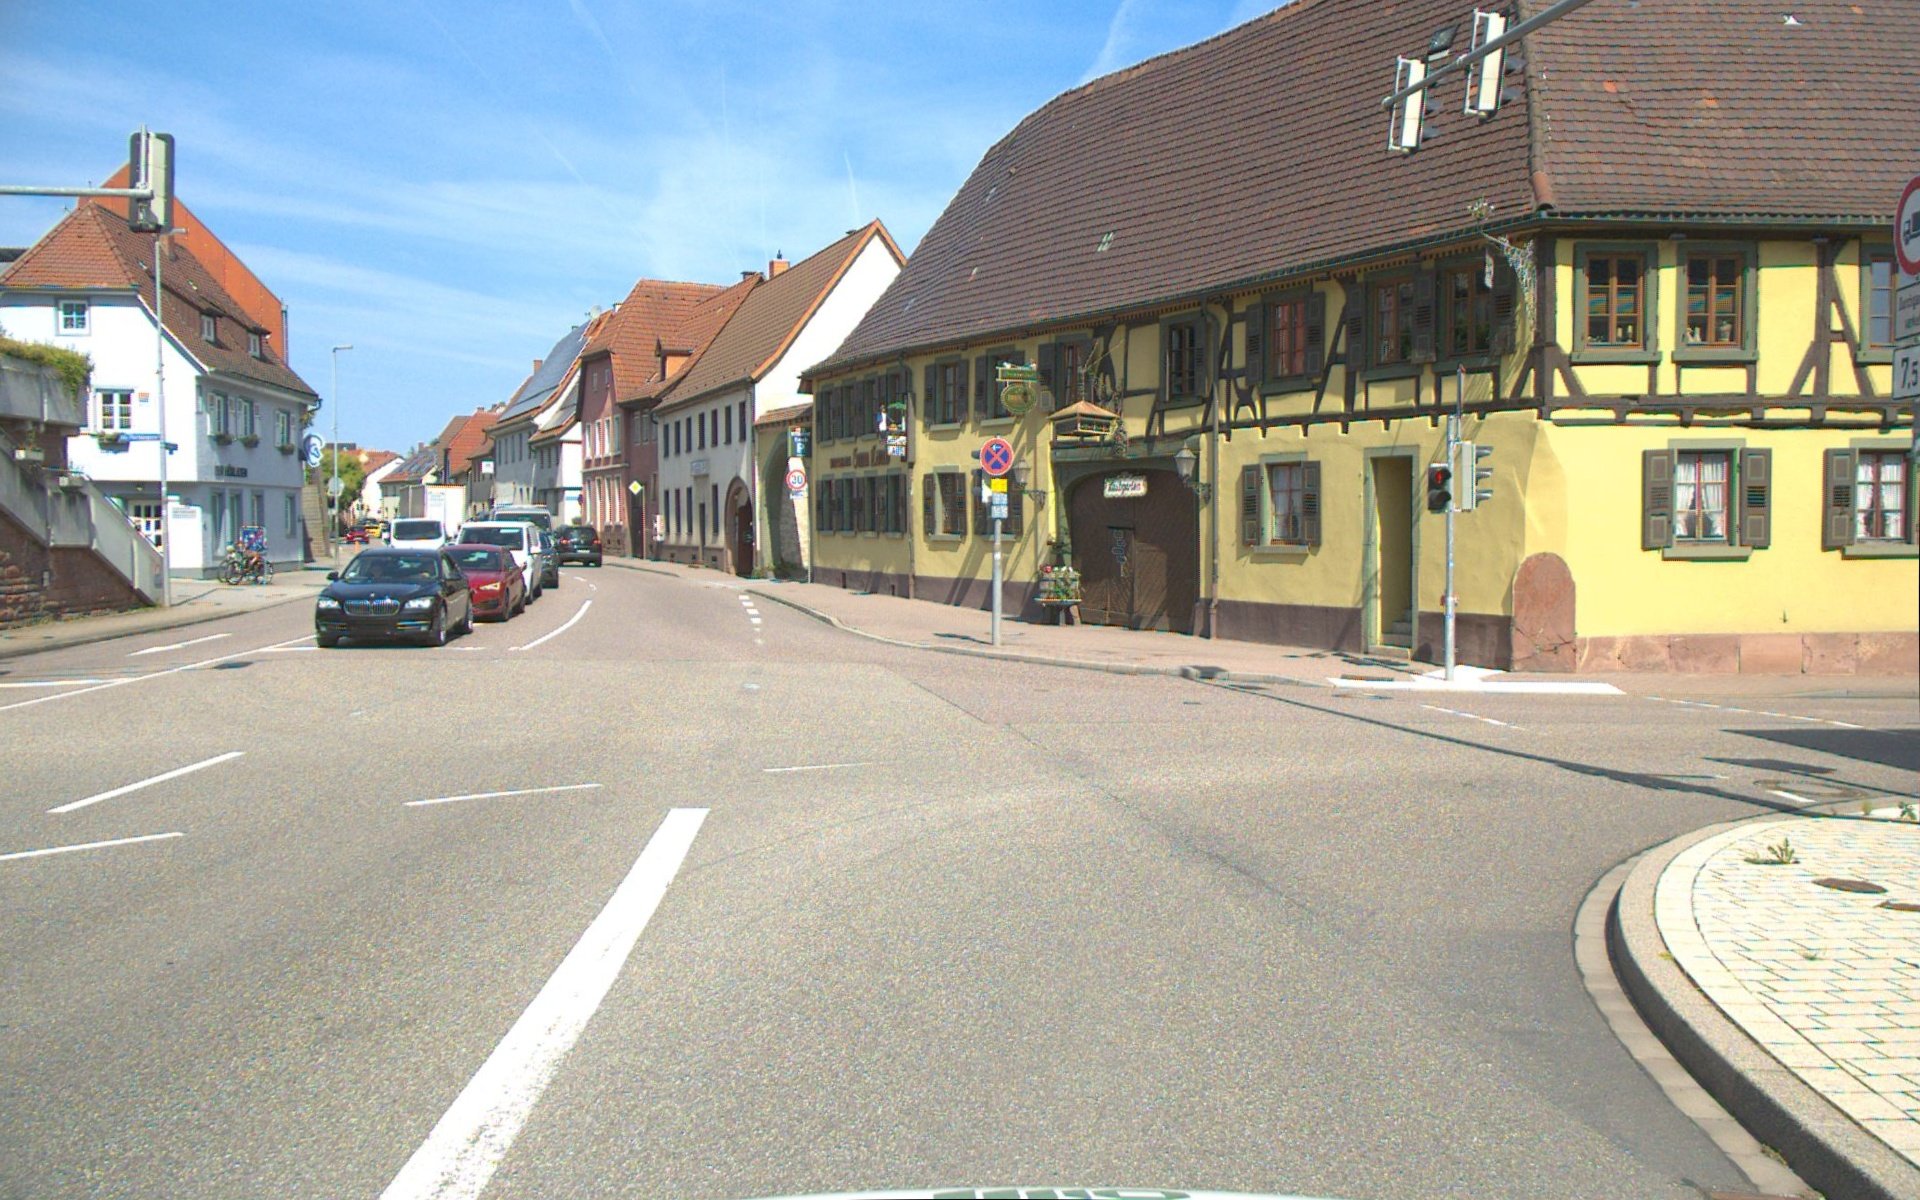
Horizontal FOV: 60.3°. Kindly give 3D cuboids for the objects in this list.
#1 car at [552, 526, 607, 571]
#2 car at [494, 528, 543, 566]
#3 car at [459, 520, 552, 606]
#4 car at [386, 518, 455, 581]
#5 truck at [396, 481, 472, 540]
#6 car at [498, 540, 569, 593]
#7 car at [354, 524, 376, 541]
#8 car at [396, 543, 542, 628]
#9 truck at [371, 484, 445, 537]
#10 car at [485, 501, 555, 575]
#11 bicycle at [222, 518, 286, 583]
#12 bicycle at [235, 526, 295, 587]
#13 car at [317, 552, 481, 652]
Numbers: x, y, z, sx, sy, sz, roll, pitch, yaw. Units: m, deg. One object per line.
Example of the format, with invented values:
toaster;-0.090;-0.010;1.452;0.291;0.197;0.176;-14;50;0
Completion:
car;-15.596;-2.145;67.675;1.793;1.769;3.985;-1;2;-19
car;-18.638;-2.264;69.738;1.758;1.552;3.985;-1;3;-19
car;-10.912;-0.948;39.965;1.788;1.939;4.952;0;3;-11
car;-18.217;-1.728;55.828;2.104;2.001;5.250;-1;2;-19
truck;-34.920;-5.894;109.529;3.186;3.610;9.148;2;2;-28
car;-12.166;-0.976;47.098;1.552;1.408;3.538;2;2;-21
car;-48.841;-5.559;135.818;1.235;1.284;2.806;2;2;-30
car;-9.918;-0.354;33.780;2.118;1.541;4.940;1;2;-8
truck;-39.555;-6.314;118.298;3.124;3.520;10.612;2;1;-29
car;-14.714;-2.068;55.196;1.732;2.285;4.525;2;2;-21
bicycle;-20.348;-1.417;47.712;0.628;1.810;2.671;2;1;1
bicycle;-19.569;-1.228;46.607;0.546;1.635;2.563;2;1;1
car;-8.974;-0.033;26.793;1.787;1.459;4.241;0;2;-9
